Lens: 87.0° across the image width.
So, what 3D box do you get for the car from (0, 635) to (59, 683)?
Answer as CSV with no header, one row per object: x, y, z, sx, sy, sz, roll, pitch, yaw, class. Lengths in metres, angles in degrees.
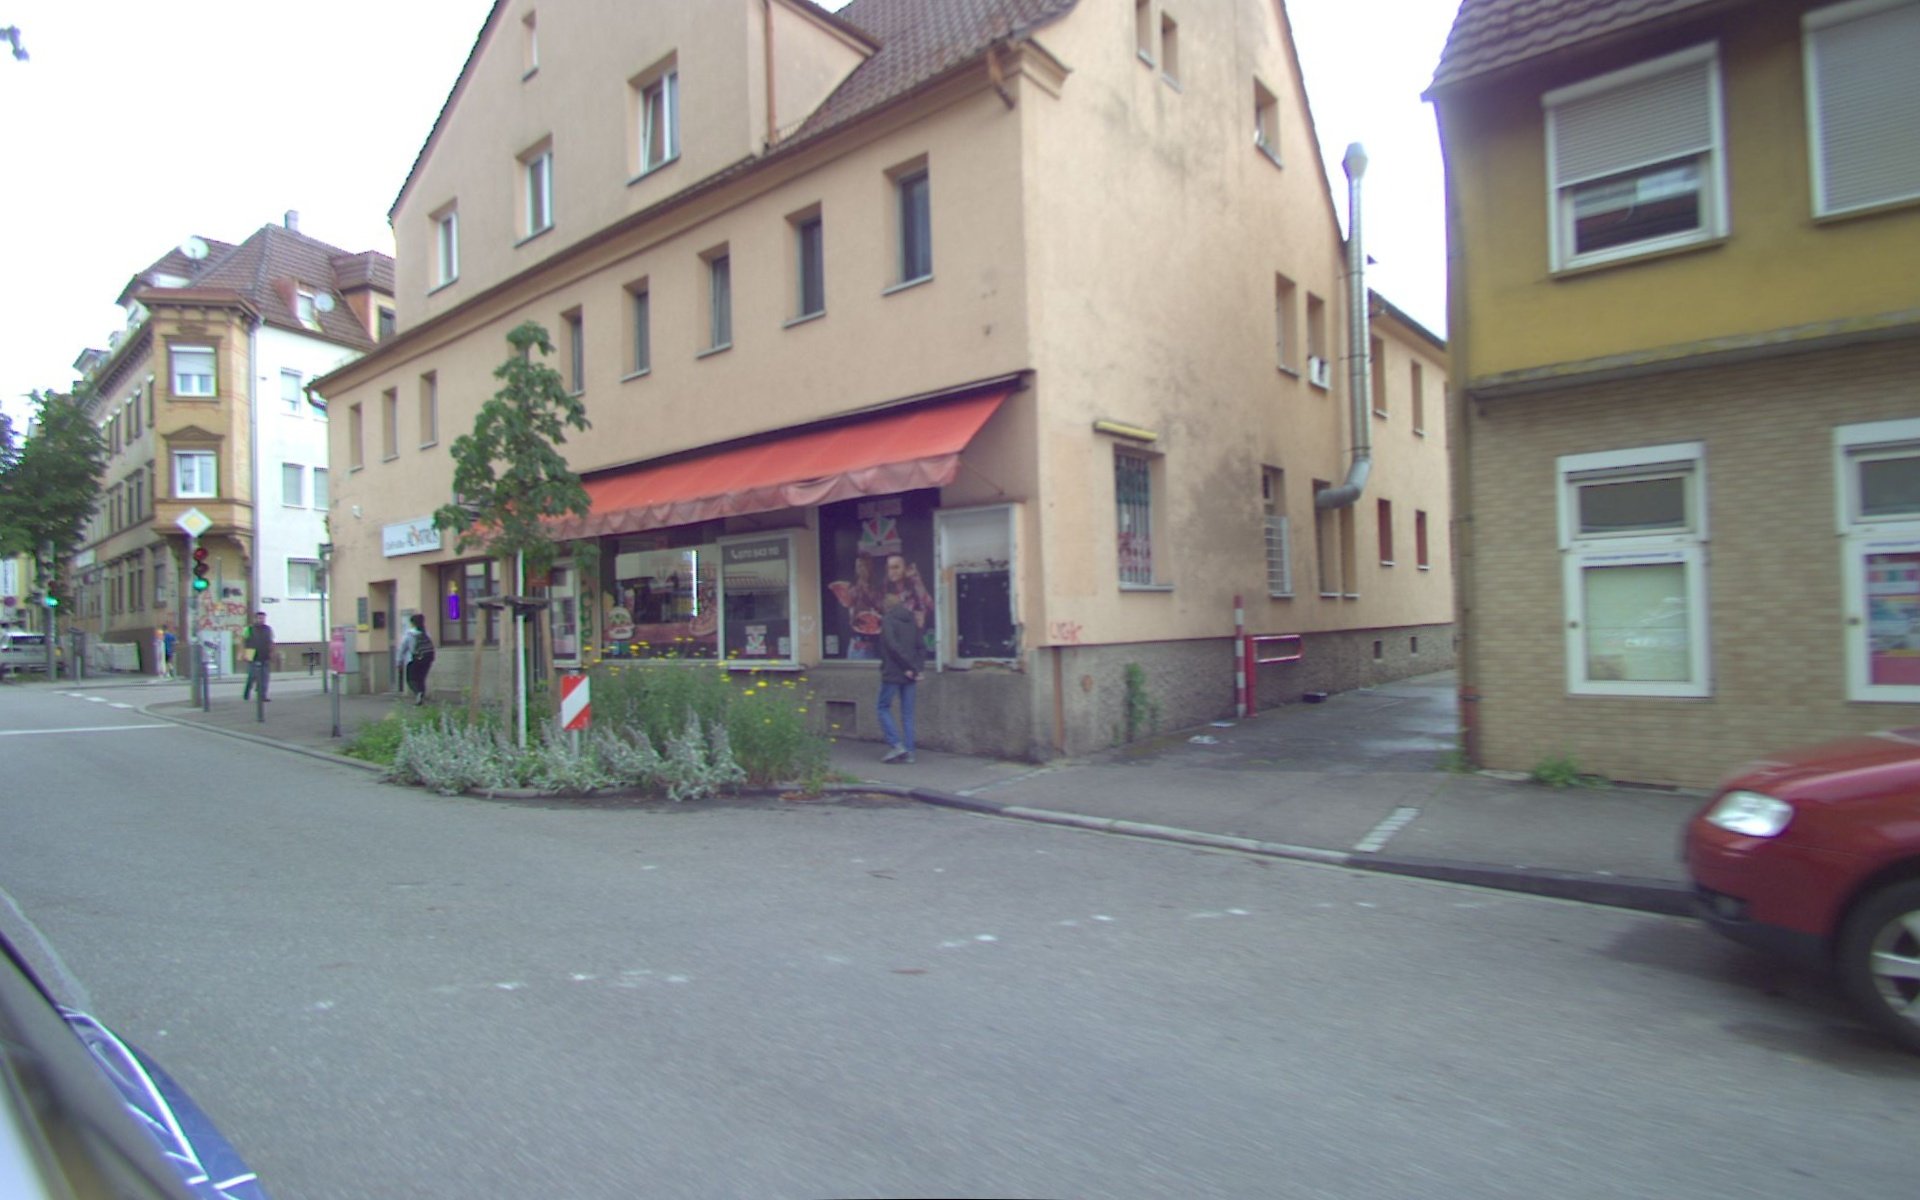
-35.664,2.197,38.293,4.740,1.725,1.870,-2,-3,42,car

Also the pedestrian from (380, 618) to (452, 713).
-9.290,1.103,17.279,0.982,1.546,0.731,-2,-1,40,pedestrian

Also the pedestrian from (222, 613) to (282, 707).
-13.855,1.155,19.811,0.982,1.767,0.731,-2,-1,42,pedestrian

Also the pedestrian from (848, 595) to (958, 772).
-0.558,0.786,10.000,0.757,1.640,0.724,-1,2,35,pedestrian

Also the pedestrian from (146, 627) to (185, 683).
-25.283,1.748,32.203,1.155,1.731,0.731,-2,-1,39,pedestrian

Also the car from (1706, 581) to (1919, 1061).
4.998,0.703,2.925,4.447,1.586,1.685,-2,-3,40,car
